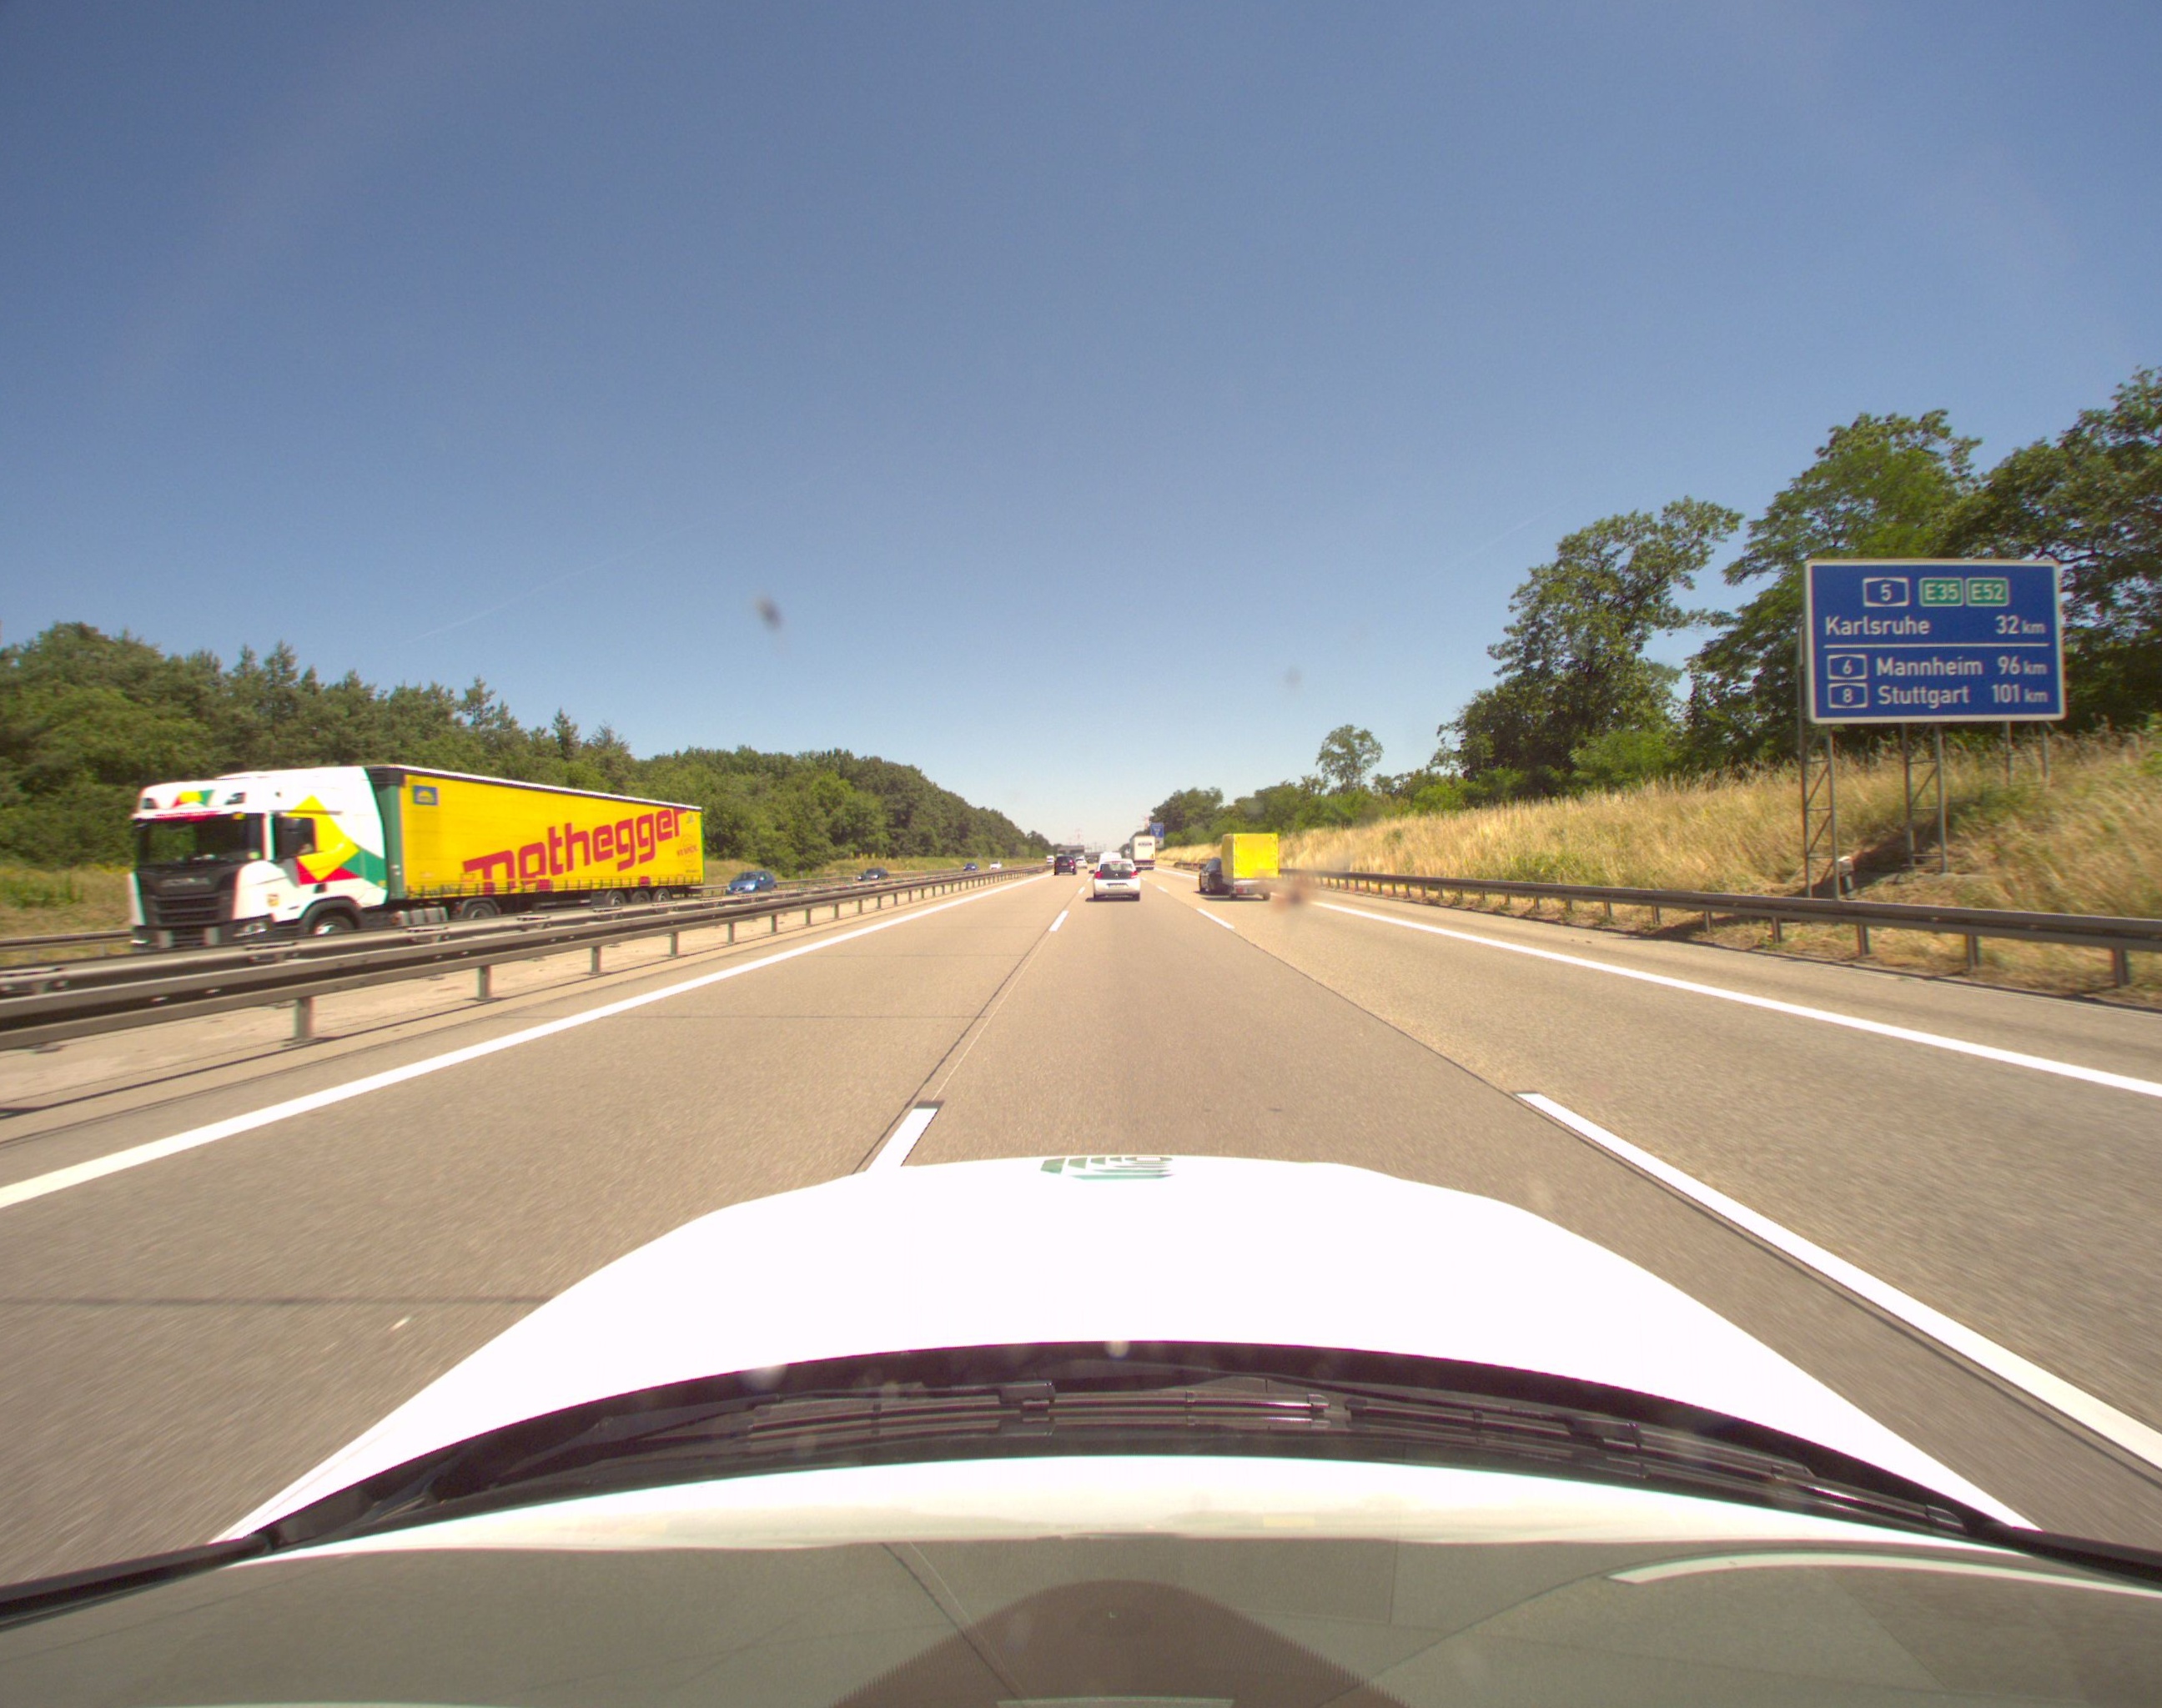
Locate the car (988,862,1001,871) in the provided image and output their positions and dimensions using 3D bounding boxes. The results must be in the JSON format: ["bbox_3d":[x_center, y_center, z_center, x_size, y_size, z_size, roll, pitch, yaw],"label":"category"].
[{"bbox_3d":[-16.300,2.343,153.257,1.696,1.661,5.118,-4,0,1],"label":"car"}]

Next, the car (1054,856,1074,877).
[{"bbox_3d":[-1.494,1.087,72.290,1.620,1.755,3.806,-1,0,2],"label":"car"}]

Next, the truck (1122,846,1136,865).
[{"bbox_3d":[9.924,0.264,169.289,2.673,3.837,4.445,0,-1,1],"label":"truck"}]

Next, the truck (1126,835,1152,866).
[{"bbox_3d":[8.052,-0.393,113.826,3.274,4.219,6.008,0,-1,1],"label":"truck"}]

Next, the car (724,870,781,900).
[{"bbox_3d":[-19.453,1.816,48.340,1.518,1.540,4.112,-4,0,1],"label":"car"}]

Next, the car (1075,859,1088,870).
[{"bbox_3d":[0.028,1.365,109.040,1.663,1.401,3.713,-2,0,0],"label":"car"}]

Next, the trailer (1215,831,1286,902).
[{"bbox_3d":[5.799,0.417,28.295,1.697,2.289,3.839,-1,0,0],"label":"trailer"}]

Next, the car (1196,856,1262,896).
[{"bbox_3d":[5.828,0.837,32.617,1.815,1.456,4.788,-1,0,1],"label":"car"}]

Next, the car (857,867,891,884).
[{"bbox_3d":[-18.725,1.913,73.849,1.669,1.365,4.891,-4,0,1],"label":"car"}]

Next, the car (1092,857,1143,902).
[{"bbox_3d":[1.283,0.857,29.268,1.702,1.495,4.025,-1,0,2],"label":"car"}]

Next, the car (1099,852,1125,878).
[{"bbox_3d":[2.244,0.815,60.034,1.808,1.827,5.111,-1,-1,1],"label":"car"}]

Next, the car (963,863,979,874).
[{"bbox_3d":[-16.758,2.192,124.425,1.696,1.545,4.536,-4,0,1],"label":"car"}]

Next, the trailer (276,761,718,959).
[{"bbox_3d":[-15.705,0.142,24.577,2.455,4.072,14.283,-4,0,2],"label":"trailer"}]

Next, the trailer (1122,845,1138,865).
[{"bbox_3d":[9.787,0.229,163.595,2.673,3.837,12.012,0,-1,1],"label":"trailer"}]

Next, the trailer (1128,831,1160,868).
[{"bbox_3d":[7.711,-0.467,101.519,3.274,4.219,13.567,0,-1,1],"label":"trailer"}]

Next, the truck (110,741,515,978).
[{"bbox_3d":[-15.903,0.104,17.666,2.455,4.072,6.289,-4,0,1],"label":"truck"}]

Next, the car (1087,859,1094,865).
[{"bbox_3d":[2.278,1.953,195.710,1.601,1.300,3.675,-1,0,2],"label":"car"}]

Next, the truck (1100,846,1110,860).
[{"bbox_3d":[5.060,-0.154,175.266,2.053,2.914,7.004,-1,-1,1],"label":"truck"}]
